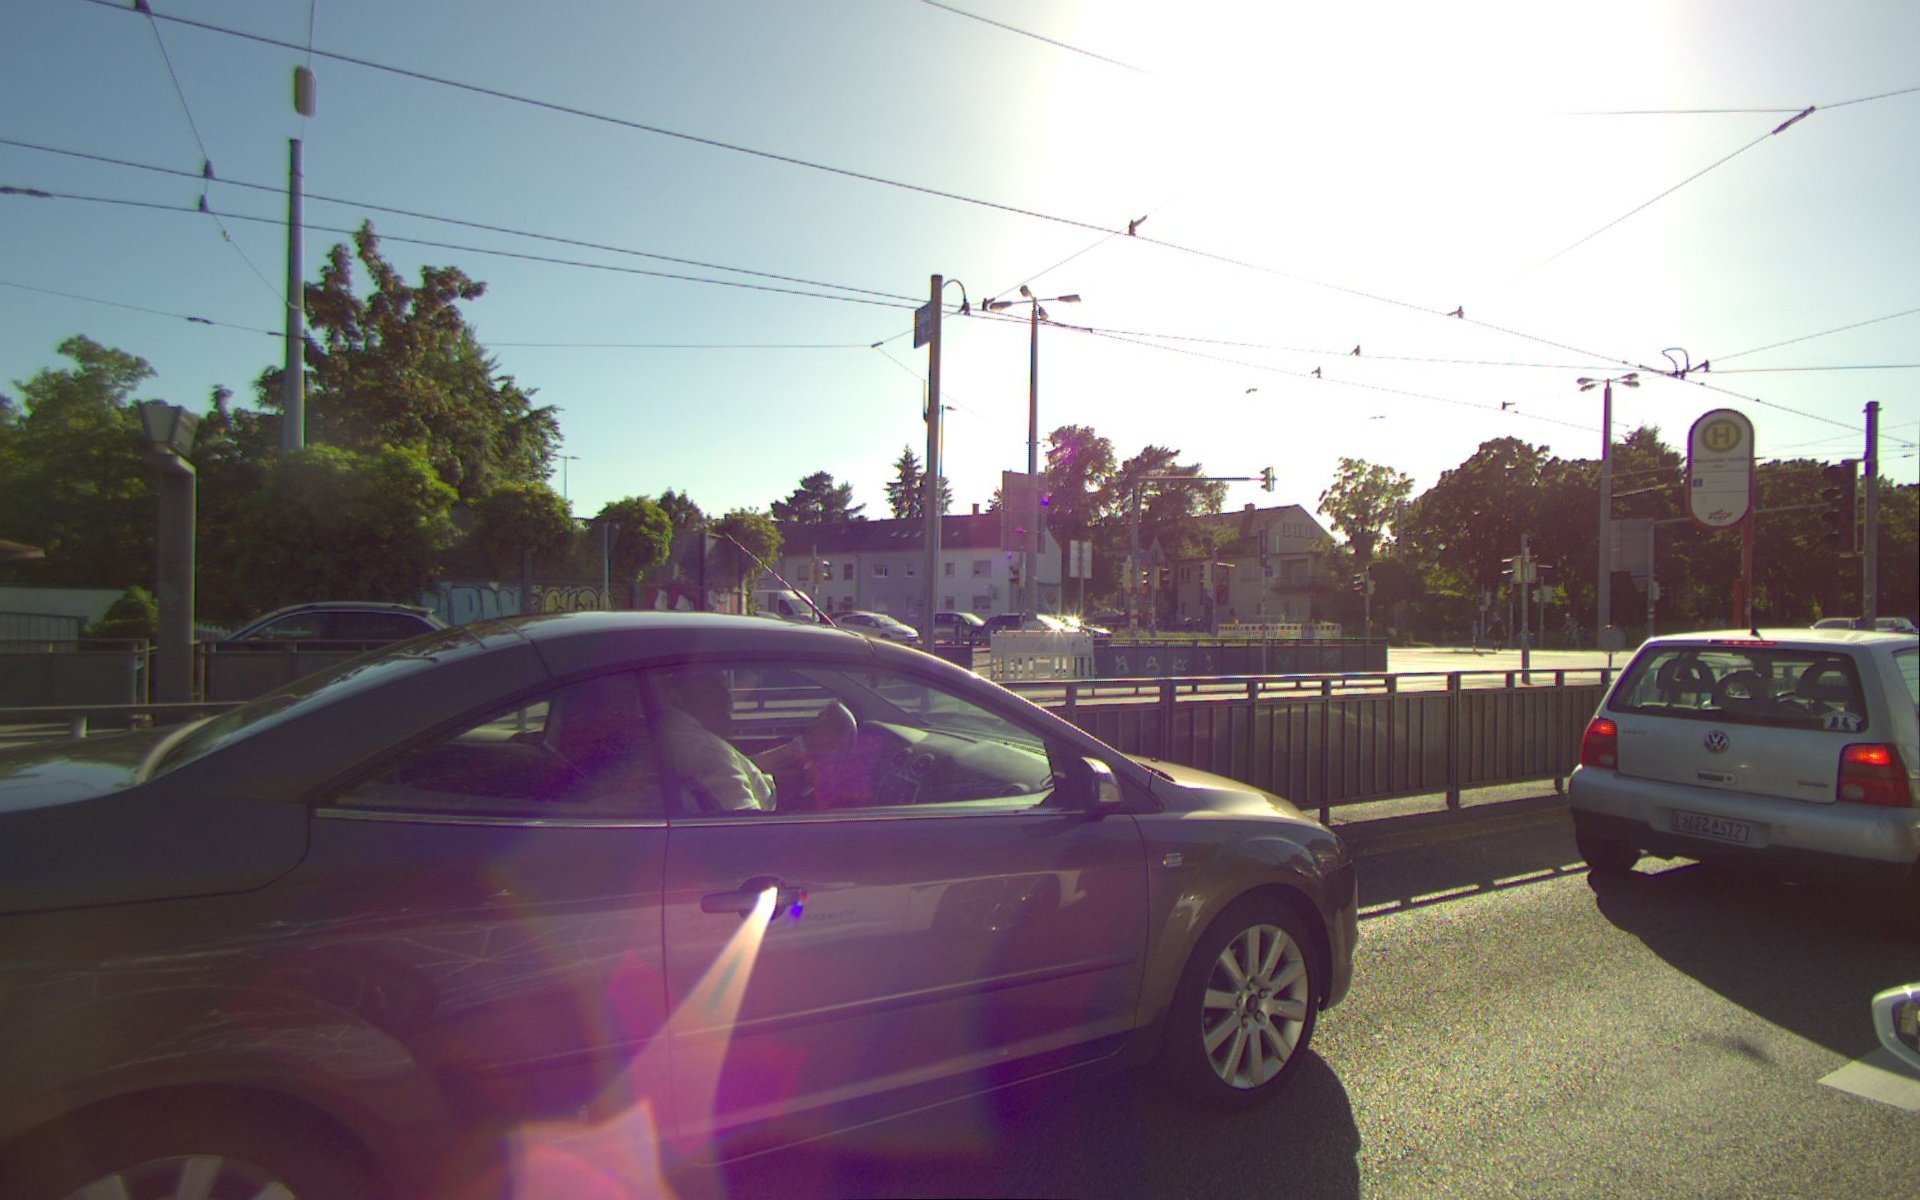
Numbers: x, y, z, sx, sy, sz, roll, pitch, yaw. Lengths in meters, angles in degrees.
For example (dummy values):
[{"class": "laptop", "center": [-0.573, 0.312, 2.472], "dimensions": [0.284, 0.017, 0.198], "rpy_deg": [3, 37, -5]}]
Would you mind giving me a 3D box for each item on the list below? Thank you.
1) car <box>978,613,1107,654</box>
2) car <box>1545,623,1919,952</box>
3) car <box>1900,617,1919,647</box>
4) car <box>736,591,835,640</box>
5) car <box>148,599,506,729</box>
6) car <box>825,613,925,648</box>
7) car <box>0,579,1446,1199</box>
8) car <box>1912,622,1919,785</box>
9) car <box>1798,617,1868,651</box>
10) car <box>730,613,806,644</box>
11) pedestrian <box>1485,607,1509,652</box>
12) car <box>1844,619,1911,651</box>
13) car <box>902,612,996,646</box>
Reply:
[{"class": "car", "center": [3.181, 1.272, 39.214], "dimensions": [4.754, 1.517, 1.781], "rpy_deg": [0, -1, 34]}, {"class": "car", "center": [5.206, 0.881, 5.966], "dimensions": [3.312, 1.436, 1.611], "rpy_deg": [2, -2, -31]}, {"class": "car", "center": [54.281, 1.787, 56.055], "dimensions": [4.712, 1.626, 1.978], "rpy_deg": [1, 1, -38]}, {"class": "car", "center": [-9.147, 0.817, 52.454], "dimensions": [4.995, 2.434, 2.132], "rpy_deg": [0, -1, 34]}, {"class": "car", "center": [-8.504, 0.805, 13.817], "dimensions": [3.940, 1.564, 1.578], "rpy_deg": [1, -1, -33]}, {"class": "car", "center": [-3.705, 1.309, 43.722], "dimensions": [4.104, 1.451, 1.846], "rpy_deg": [0, -1, 34]}, {"class": "car", "center": [-0.672, 0.735, 2.969], "dimensions": [4.284, 1.469, 1.766], "rpy_deg": [1, -1, -31]}, {"class": "car", "center": [10.778, 0.994, 9.452], "dimensions": [4.038, 1.476, 1.611], "rpy_deg": [2, 0, -31]}, {"class": "car", "center": [42.439, 1.644, 48.801], "dimensions": [3.963, 1.568, 1.819], "rpy_deg": [1, -1, -37]}, {"class": "car", "center": [-9.164, 1.334, 47.799], "dimensions": [3.552, 1.425, 1.481], "rpy_deg": [0, -1, 35]}, {"class": "pedestrian", "center": [24.743, 1.371, 46.300], "dimensions": [0.785, 2.040, 0.741], "rpy_deg": [1, -1, -42]}, {"class": "car", "center": [47.323, 1.769, 51.789], "dimensions": [4.245, 1.568, 1.819], "rpy_deg": [1, -1, -37]}, {"class": "car", "center": [-0.518, 1.306, 45.815], "dimensions": [4.104, 1.451, 1.589], "rpy_deg": [0, -1, 34]}]
